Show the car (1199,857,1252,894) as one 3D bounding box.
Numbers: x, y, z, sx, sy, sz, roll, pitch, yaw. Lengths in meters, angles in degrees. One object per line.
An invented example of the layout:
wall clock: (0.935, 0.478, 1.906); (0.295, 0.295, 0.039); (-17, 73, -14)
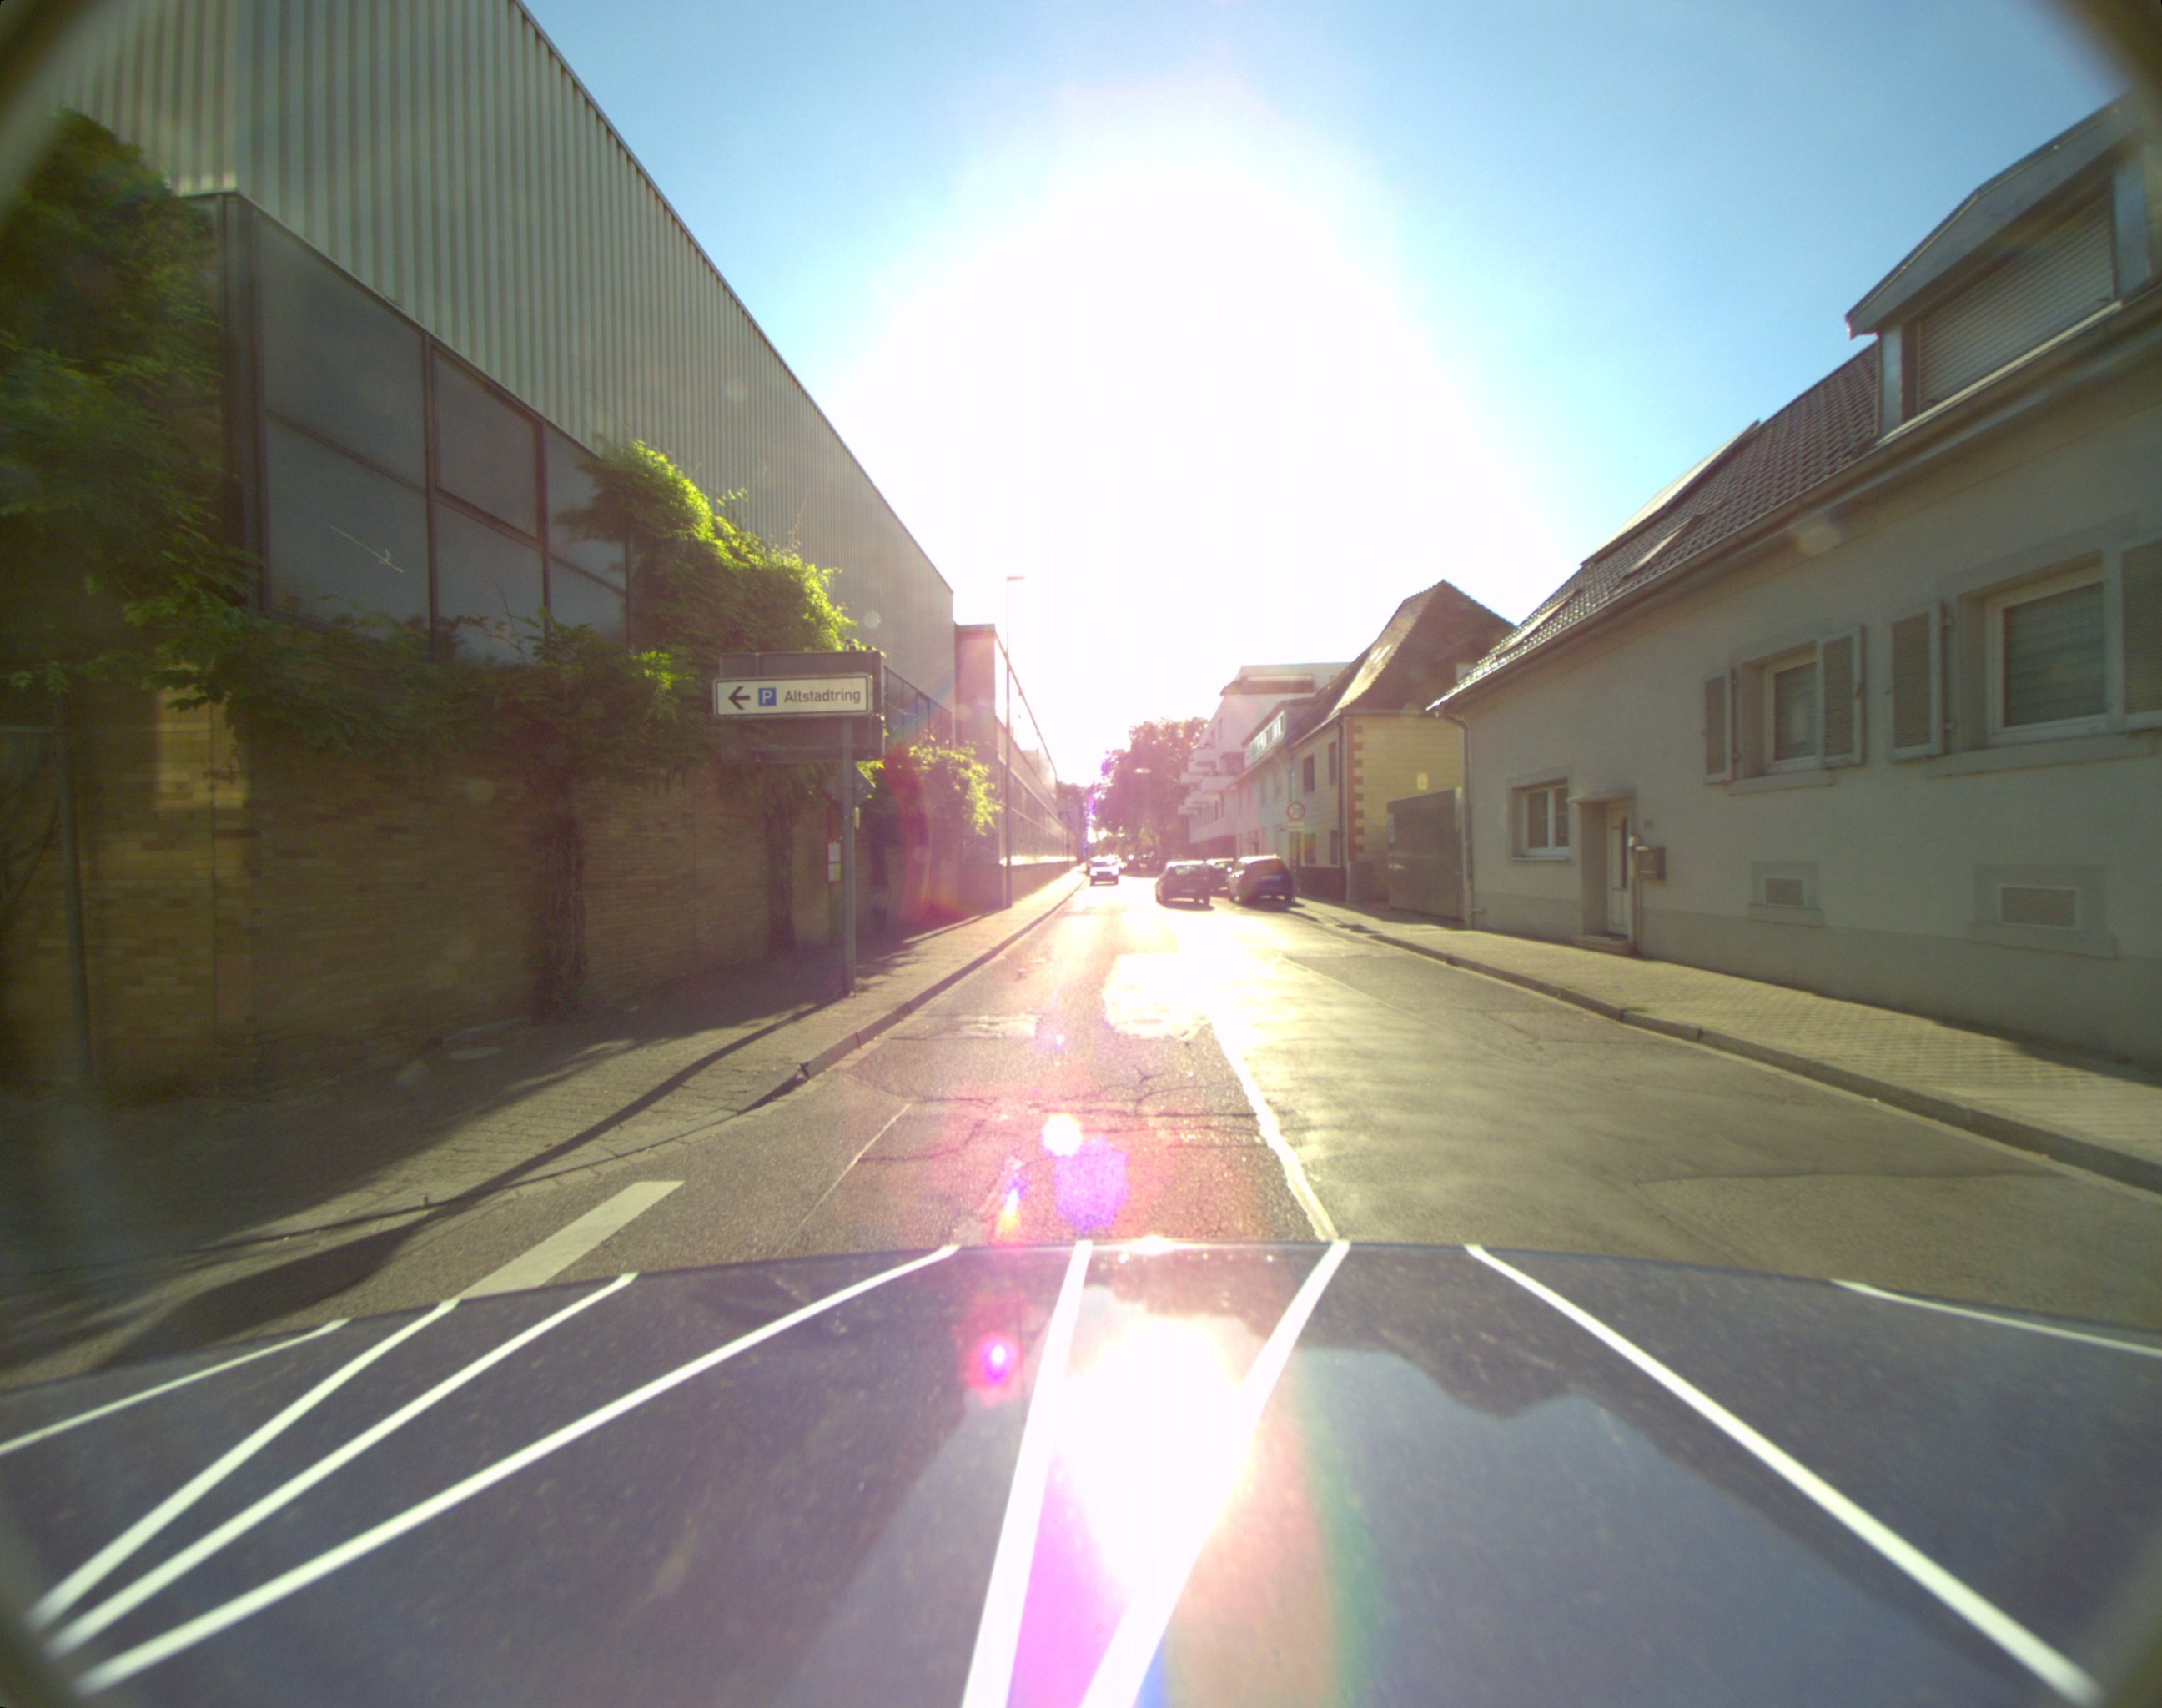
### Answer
car: (6.790, 0.981, 36.107); (1.862, 1.577, 4.337); (-3, -1, 3)

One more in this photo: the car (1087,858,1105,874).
car: (1.600, 1.269, 81.766); (1.811, 1.578, 4.404); (-3, 0, 0)

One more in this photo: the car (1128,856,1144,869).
car: (6.804, 1.011, 94.378); (1.846, 1.482, 4.145); (3, 0, 5)

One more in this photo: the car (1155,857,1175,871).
car: (8.877, 1.041, 80.433); (1.678, 1.425, 3.770); (-3, 0, 1)

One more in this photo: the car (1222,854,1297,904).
car: (6.334, 0.894, 27.414); (1.813, 1.577, 4.194); (-3, -1, 2)

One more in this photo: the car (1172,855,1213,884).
car: (6.755, 0.905, 46.265); (1.689, 1.526, 4.334); (-3, 0, -1)

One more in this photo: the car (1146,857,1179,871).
car: (10.701, 1.338, 99.577); (3.965, 1.652, 1.696); (-2, 1, -26)

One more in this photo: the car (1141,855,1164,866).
car: (13.588, 1.284, 144.762); (4.005, 1.875, 1.713); (-2, 1, -25)

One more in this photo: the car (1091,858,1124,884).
car: (1.710, 1.082, 50.003); (1.854, 1.527, 3.856); (-3, 0, -1)

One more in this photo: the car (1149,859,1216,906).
car: (3.574, 0.960, 27.342); (1.847, 1.482, 4.144); (1, 1, 0)

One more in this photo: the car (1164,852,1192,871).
car: (8.761, 0.685, 68.860); (1.862, 1.578, 4.620); (-3, 0, -1)

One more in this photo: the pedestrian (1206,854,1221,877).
pedestrian: (11.273, 0.971, 64.483); (0.862, 1.808, 1.134); (-5, 0, 26)
